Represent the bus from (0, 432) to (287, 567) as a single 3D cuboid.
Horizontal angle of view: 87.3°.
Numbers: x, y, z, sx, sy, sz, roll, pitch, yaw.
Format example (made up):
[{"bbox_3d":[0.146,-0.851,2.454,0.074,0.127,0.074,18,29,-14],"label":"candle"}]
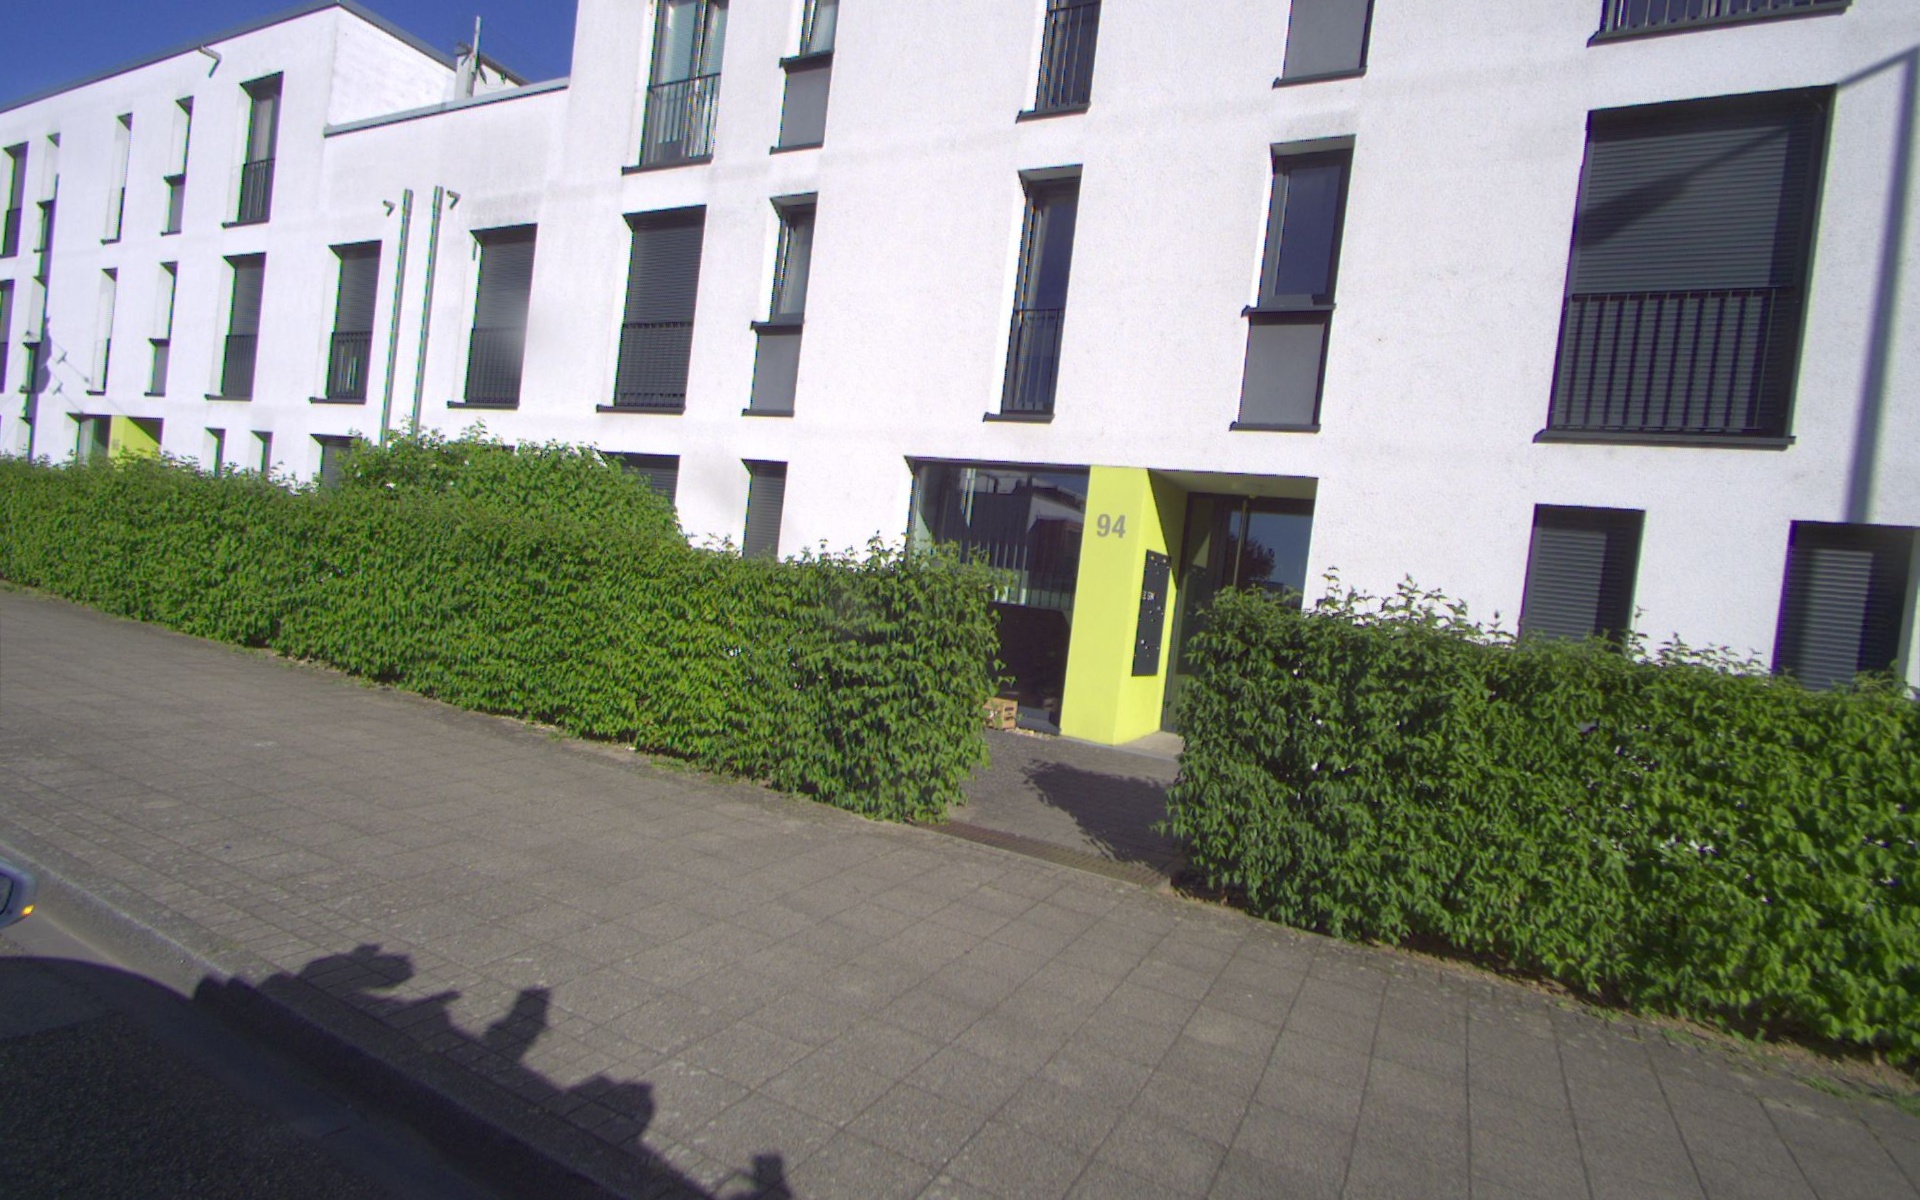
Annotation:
[{"bbox_3d":[-33.168,-3.865,37.416,2.794,3.714,14.690,8,-1,18],"label":"bus"}]
